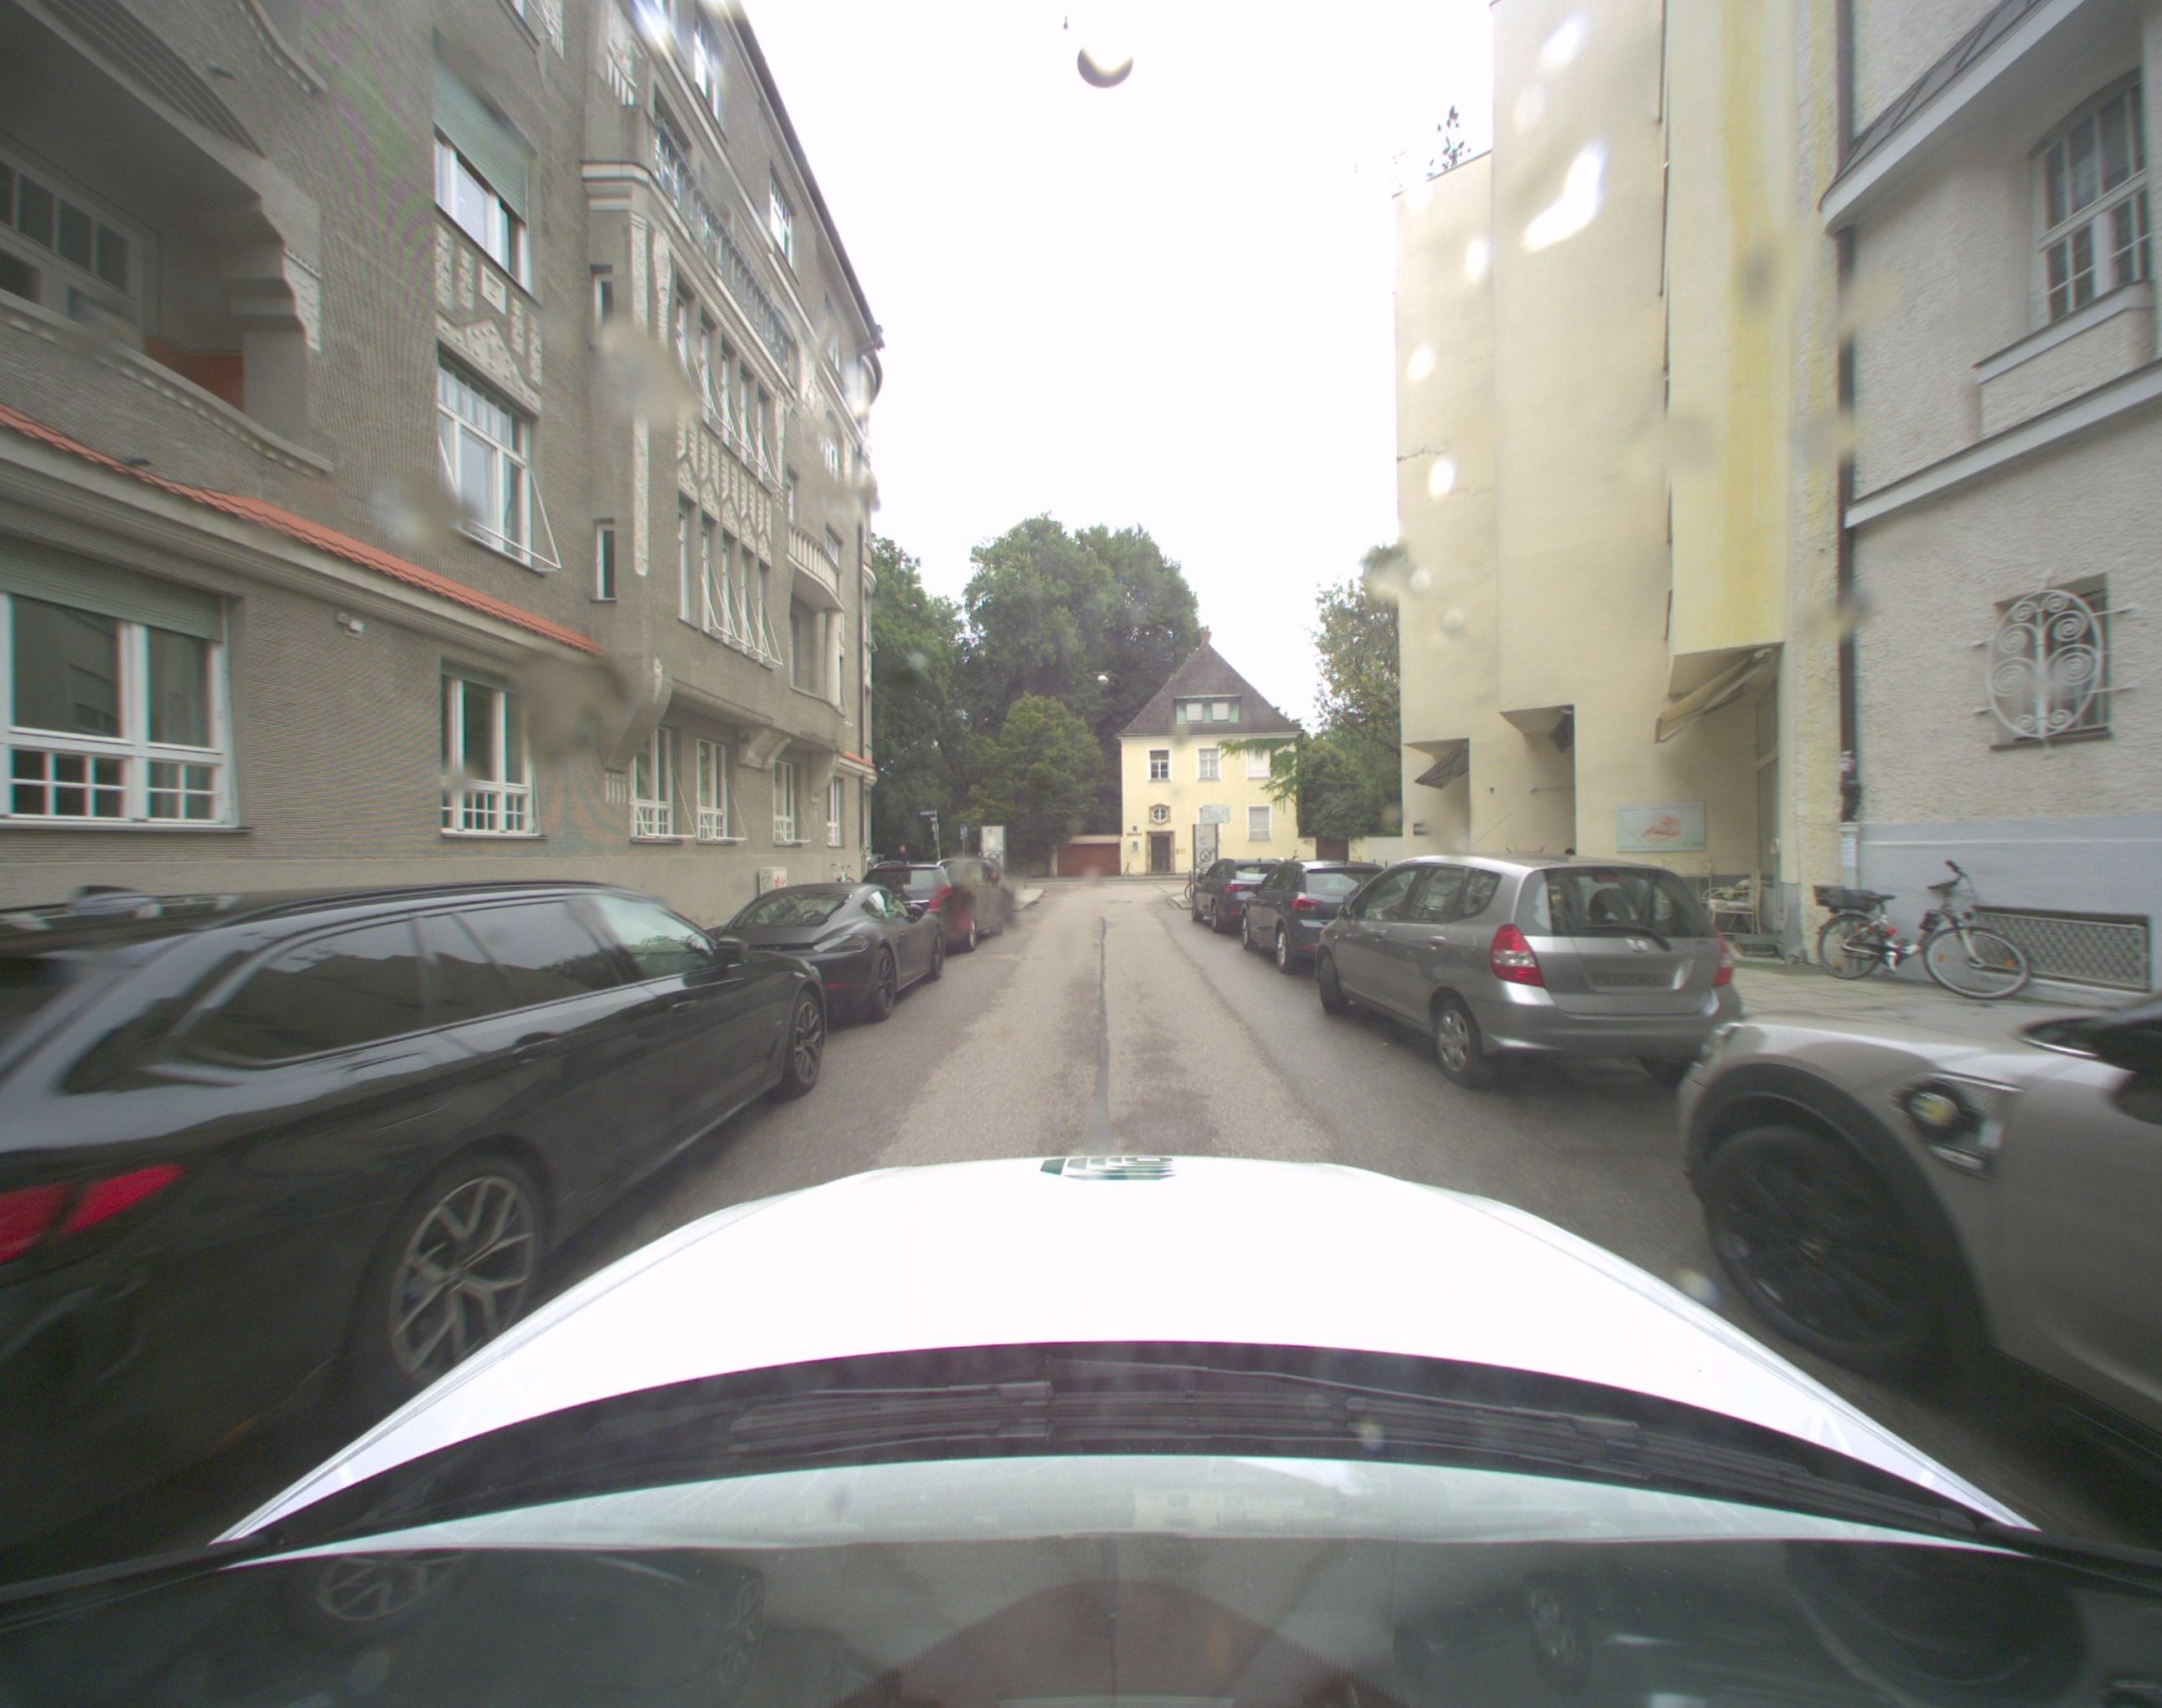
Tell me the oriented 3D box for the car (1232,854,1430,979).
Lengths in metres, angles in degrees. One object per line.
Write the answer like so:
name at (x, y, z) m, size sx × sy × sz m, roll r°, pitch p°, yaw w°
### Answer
car at (3.355, 0.745, 11.680) m, size 1.629 × 1.471 × 3.854 m, roll -1°, pitch 0°, yaw -1°

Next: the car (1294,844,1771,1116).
car at (3.125, 0.712, 6.630) m, size 1.630 × 1.536 × 3.851 m, roll -1°, pitch 0°, yaw -3°

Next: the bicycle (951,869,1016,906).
bicycle at (-2.789, 0.950, 23.338) m, size 1.796 × 1.015 × 0.540 m, roll 0°, pitch 0°, yaw 0°

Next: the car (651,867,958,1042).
car at (-2.617, 0.871, 8.823) m, size 1.748 × 1.331 × 4.099 m, roll -1°, pitch 0°, yaw 2°

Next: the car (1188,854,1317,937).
car at (3.395, 0.749, 17.013) m, size 1.687 × 1.471 × 4.609 m, roll -1°, pitch 0°, yaw -1°

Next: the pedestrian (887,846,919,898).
pedestrian at (-6.179, 0.610, 28.332) m, size 0.835 × 1.787 × 0.937 m, roll -1°, pitch 0°, yaw 4°

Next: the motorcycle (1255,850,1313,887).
motorcycle at (7.806, 0.541, 31.357) m, size 2.086 × 1.356 × 0.811 m, roll -1°, pitch 0°, yaw -22°

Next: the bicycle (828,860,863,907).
bicycle at (-7.009, 0.850, 24.313) m, size 0.617 × 1.349 × 1.673 m, roll -1°, pitch 0°, yaw -3°

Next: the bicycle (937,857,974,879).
bicycle at (-5.971, 0.664, 38.738) m, size 1.982 × 1.010 × 0.515 m, roll -1°, pitch 0°, yaw 38°

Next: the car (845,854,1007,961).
car at (-2.514, 0.793, 14.409) m, size 1.748 × 1.515 × 4.710 m, roll -1°, pitch 0°, yaw 2°

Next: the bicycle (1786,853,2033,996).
bicycle at (7.859, 0.603, 7.846) m, size 0.562 × 1.192 × 1.675 m, roll -3°, pitch 0°, yaw -4°

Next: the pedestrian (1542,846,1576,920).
pedestrian at (9.319, 0.548, 15.871) m, size 0.526 × 1.398 × 0.678 m, roll -1°, pitch 0°, yaw 34°

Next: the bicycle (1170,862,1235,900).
bicycle at (3.669, 0.810, 24.550) m, size 1.774 × 1.085 × 0.670 m, roll -2°, pitch 1°, yaw 28°

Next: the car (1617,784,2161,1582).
car at (2.970, 0.649, 1.261) m, size 1.629 × 1.592 × 3.966 m, roll -1°, pitch 0°, yaw -1°

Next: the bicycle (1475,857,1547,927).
bicycle at (7.150, 0.604, 13.502) m, size 0.743 × 1.032 × 1.811 m, roll -3°, pitch 0°, yaw 36°

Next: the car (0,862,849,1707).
car at (-2.745, 0.819, 3.675) m, size 1.987 × 1.448 × 4.778 m, roll -1°, pitch 0°, yaw 0°

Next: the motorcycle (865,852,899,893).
motorcycle at (-7.363, 0.658, 30.199) m, size 0.733 × 1.440 × 2.146 m, roll -1°, pitch 0°, yaw 0°

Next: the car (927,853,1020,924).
car at (-2.506, 0.771, 19.576) m, size 1.697 × 1.515 × 2.913 m, roll -1°, pitch 0°, yaw 2°
